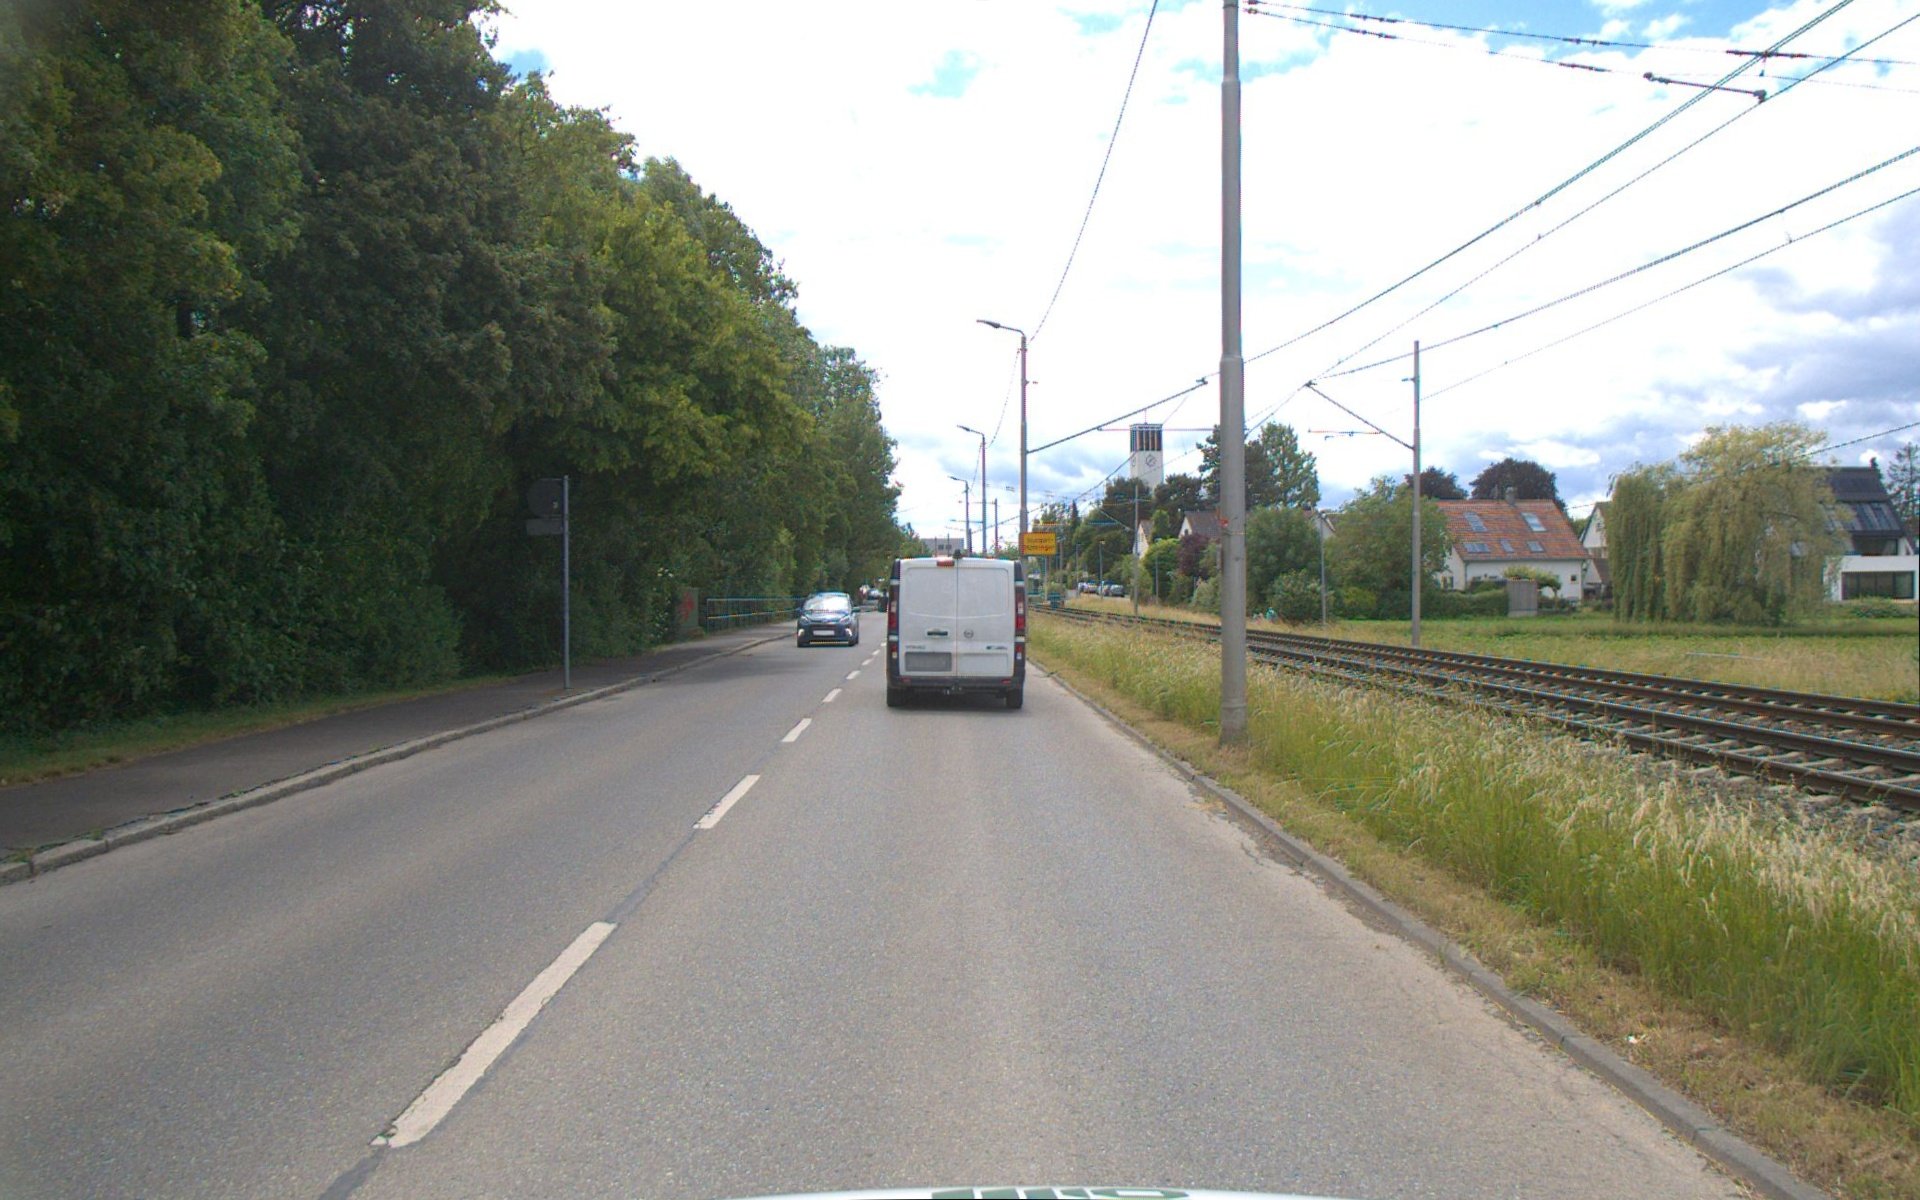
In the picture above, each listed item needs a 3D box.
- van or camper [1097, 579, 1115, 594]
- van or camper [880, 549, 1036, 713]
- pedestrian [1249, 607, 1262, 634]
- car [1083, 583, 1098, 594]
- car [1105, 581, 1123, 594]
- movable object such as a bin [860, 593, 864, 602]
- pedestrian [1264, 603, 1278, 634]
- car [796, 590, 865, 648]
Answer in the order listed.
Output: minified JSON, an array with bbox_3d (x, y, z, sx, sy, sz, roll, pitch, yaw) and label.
[{"bbox_3d":[18.958,-1.758,214.560,1.866,1.857,5.047,-1,0,0],"label":"van or camper"},{"bbox_3d":[-0.053,0.388,23.156,1.953,2.049,4.445,1,0,-1],"label":"van or camper"},{"bbox_3d":[16.163,1.107,90.441,0.585,1.455,0.666,1,0,0],"label":"pedestrian"},{"bbox_3d":[18.639,-1.690,236.263,1.845,1.548,4.000,-1,0,0],"label":"car"},{"bbox_3d":[18.992,-1.535,203.670,1.845,1.548,4.000,-1,0,0],"label":"car"},{"bbox_3d":[-10.581,-0.244,178.587,0.503,0.961,0.568,1,0,-2],"label":"movable object such as a bin"},{"bbox_3d":[16.978,1.015,90.395,0.604,1.650,0.584,1,0,-1],"label":"pedestrian"},{"bbox_3d":[-3.695,0.520,47.712,1.672,1.555,3.824,-2,0,-1],"label":"car"}]
